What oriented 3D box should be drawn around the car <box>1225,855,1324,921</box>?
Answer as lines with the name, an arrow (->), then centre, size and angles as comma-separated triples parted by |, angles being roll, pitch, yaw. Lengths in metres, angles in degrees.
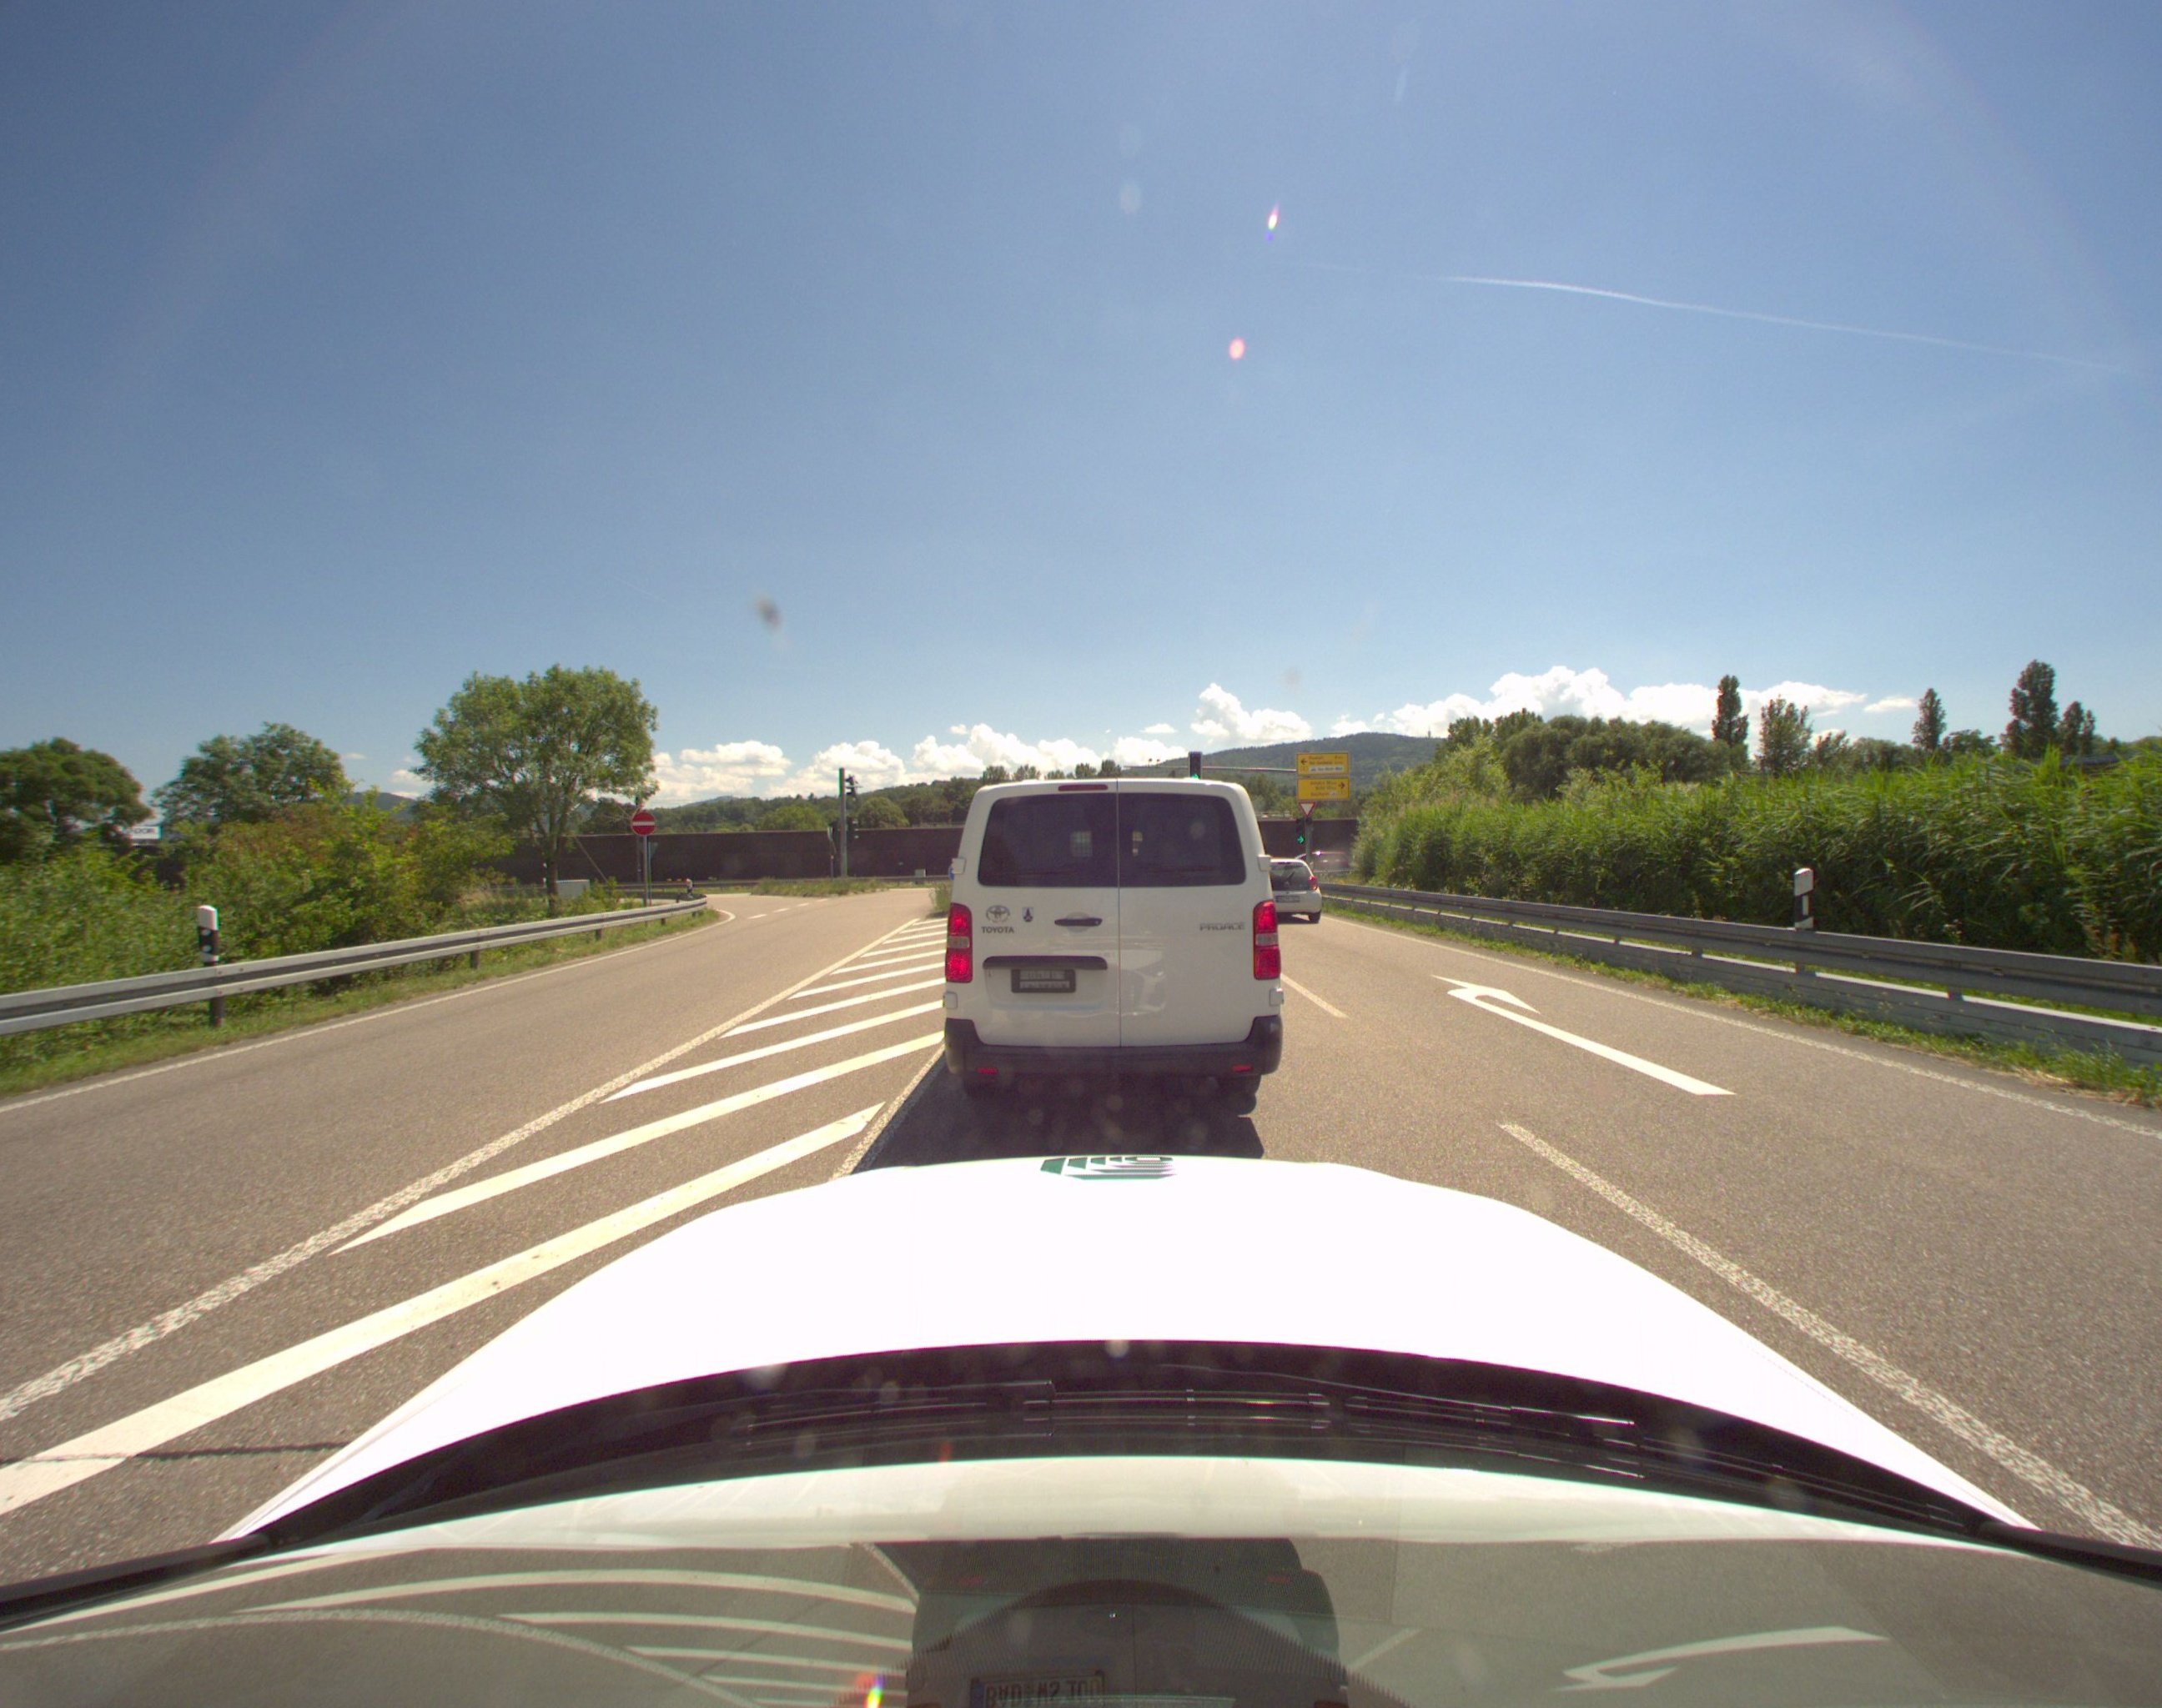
car -> 4.569, 0.758, 19.649 | 1.650, 1.431, 3.366 | -1, 0, 1

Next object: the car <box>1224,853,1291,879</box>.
car -> 11.516, 0.759, 53.222 | 3.973, 1.555, 2.000 | -1, 0, 1

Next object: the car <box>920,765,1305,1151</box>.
car -> 0.199, 0.525, 6.013 | 1.880, 1.886, 4.001 | -1, 0, 1

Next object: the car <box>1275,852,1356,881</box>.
car -> 14.252, 0.733, 49.638 | 4.298, 1.656, 1.999 | -1, 0, -2

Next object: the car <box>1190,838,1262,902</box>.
car -> 4.913, 0.527, 28.228 | 1.920, 2.000, 4.842 | -1, 0, 3
